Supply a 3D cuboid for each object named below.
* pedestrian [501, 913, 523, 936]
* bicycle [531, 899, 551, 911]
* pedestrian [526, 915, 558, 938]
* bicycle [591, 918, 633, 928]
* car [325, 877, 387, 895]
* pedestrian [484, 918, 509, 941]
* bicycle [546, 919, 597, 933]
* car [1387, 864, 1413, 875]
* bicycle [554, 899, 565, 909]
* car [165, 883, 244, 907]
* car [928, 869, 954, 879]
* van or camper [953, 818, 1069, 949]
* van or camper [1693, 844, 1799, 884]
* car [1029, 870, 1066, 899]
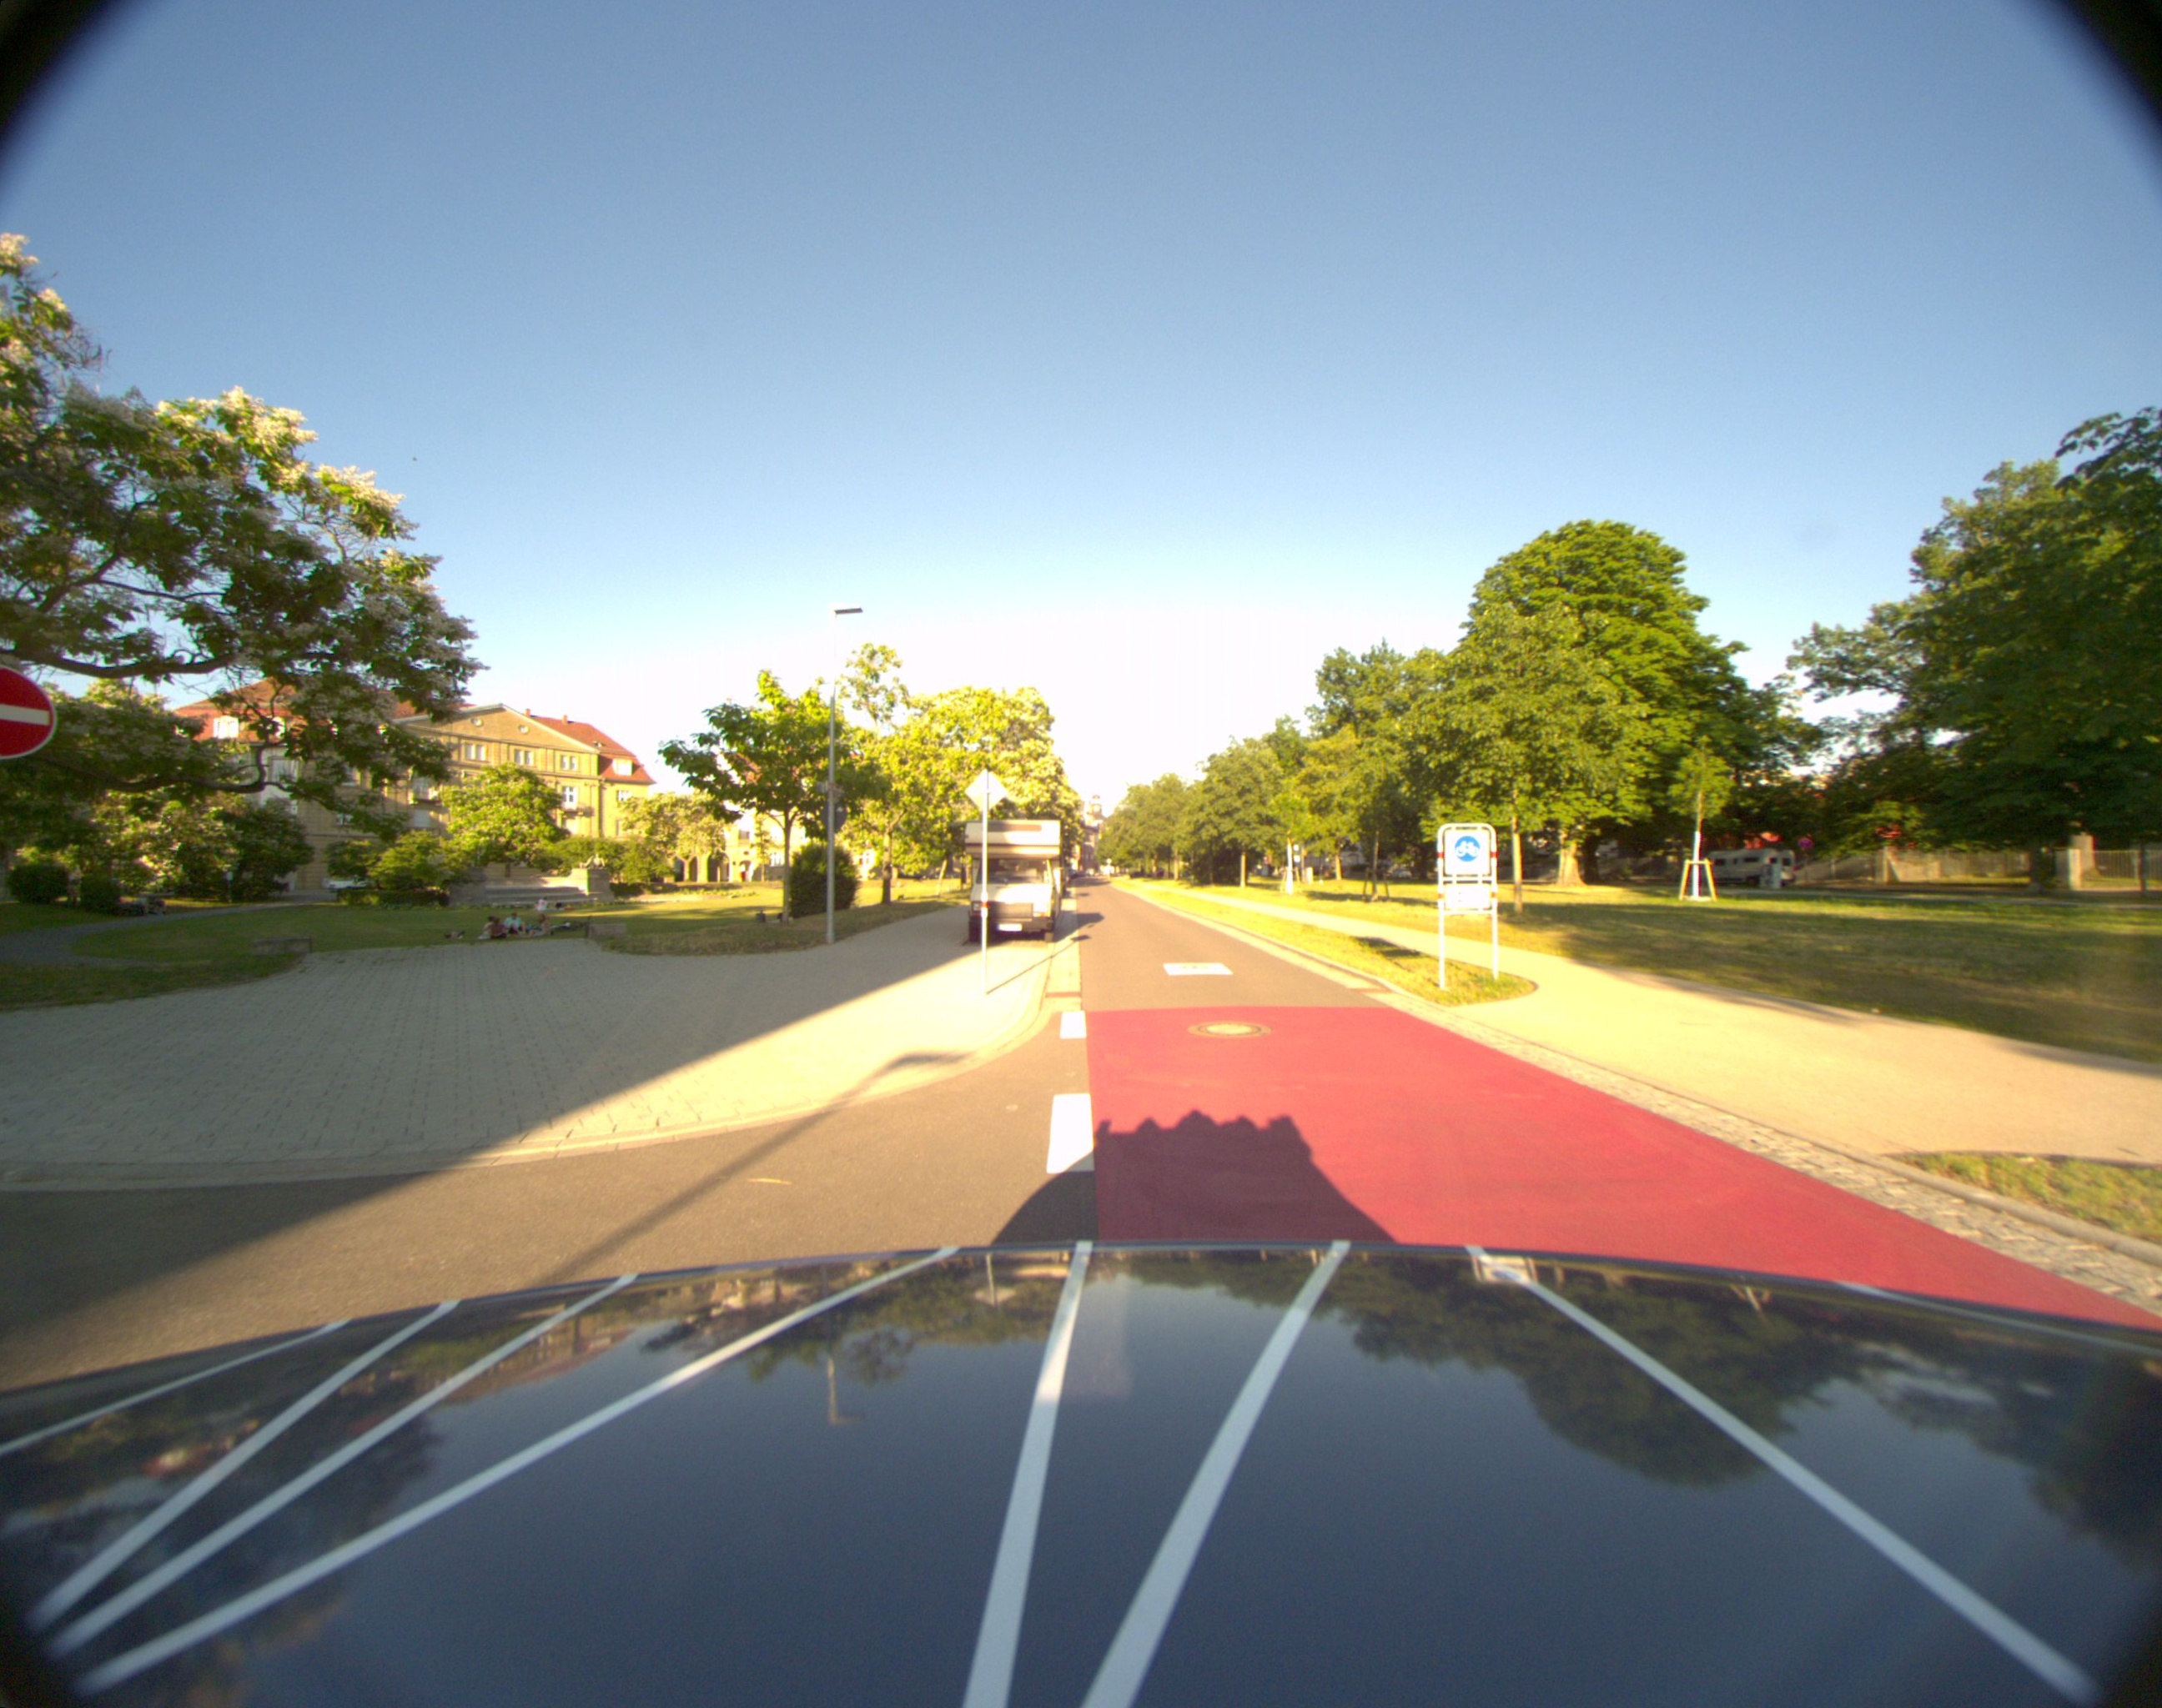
[{"bbox_3d":[-21.328,2.644,28.486,0.453,0.830,0.499,-2,0,33],"label":"pedestrian"},{"bbox_3d":[-32.099,3.038,45.149,0.907,0.648,0.438,-1,-1,-39],"label":"bicycle"},{"bbox_3d":[-19.409,2.603,27.360,0.497,0.760,0.812,-2,-2,39],"label":"pedestrian"},{"bbox_3d":[-19.768,2.913,32.078,0.659,0.317,1.704,0,-1,2],"label":"bicycle"},{"bbox_3d":[-64.329,2.827,67.477,1.724,1.489,3.708,-1,-2,6],"label":"car"},{"bbox_3d":[-20.252,2.614,26.335,0.498,0.742,0.454,-1,0,-5],"label":"pedestrian"},{"bbox_3d":[-20.167,2.854,30.113,0.659,0.380,1.933,0,-1,2],"label":"bicycle"},{"bbox_3d":[43.463,2.156,103.651,1.797,1.455,4.000,-1,-1,-1],"label":"car"},{"bbox_3d":[-31.431,2.994,45.762,0.488,0.579,0.438,-1,-1,-39],"label":"bicycle"},{"bbox_3d":[-65.224,3.016,56.612,1.777,1.574,3.996,-1,-1,-12],"label":"car"},{"bbox_3d":[-21.860,3.139,118.367,3.707,1.490,1.724,-1,-1,-19],"label":"car"},{"bbox_3d":[-1.588,0.666,19.343,2.428,2.766,5.952,1,0,-2],"label":"van or camper"},{"bbox_3d":[43.787,0.674,50.241,1.999,2.425,5.466,-3,-1,-2],"label":"van or camper"},{"bbox_3d":[-1.877,1.731,43.842,1.999,1.501,4.000,-1,-1,-1],"label":"car"}]
